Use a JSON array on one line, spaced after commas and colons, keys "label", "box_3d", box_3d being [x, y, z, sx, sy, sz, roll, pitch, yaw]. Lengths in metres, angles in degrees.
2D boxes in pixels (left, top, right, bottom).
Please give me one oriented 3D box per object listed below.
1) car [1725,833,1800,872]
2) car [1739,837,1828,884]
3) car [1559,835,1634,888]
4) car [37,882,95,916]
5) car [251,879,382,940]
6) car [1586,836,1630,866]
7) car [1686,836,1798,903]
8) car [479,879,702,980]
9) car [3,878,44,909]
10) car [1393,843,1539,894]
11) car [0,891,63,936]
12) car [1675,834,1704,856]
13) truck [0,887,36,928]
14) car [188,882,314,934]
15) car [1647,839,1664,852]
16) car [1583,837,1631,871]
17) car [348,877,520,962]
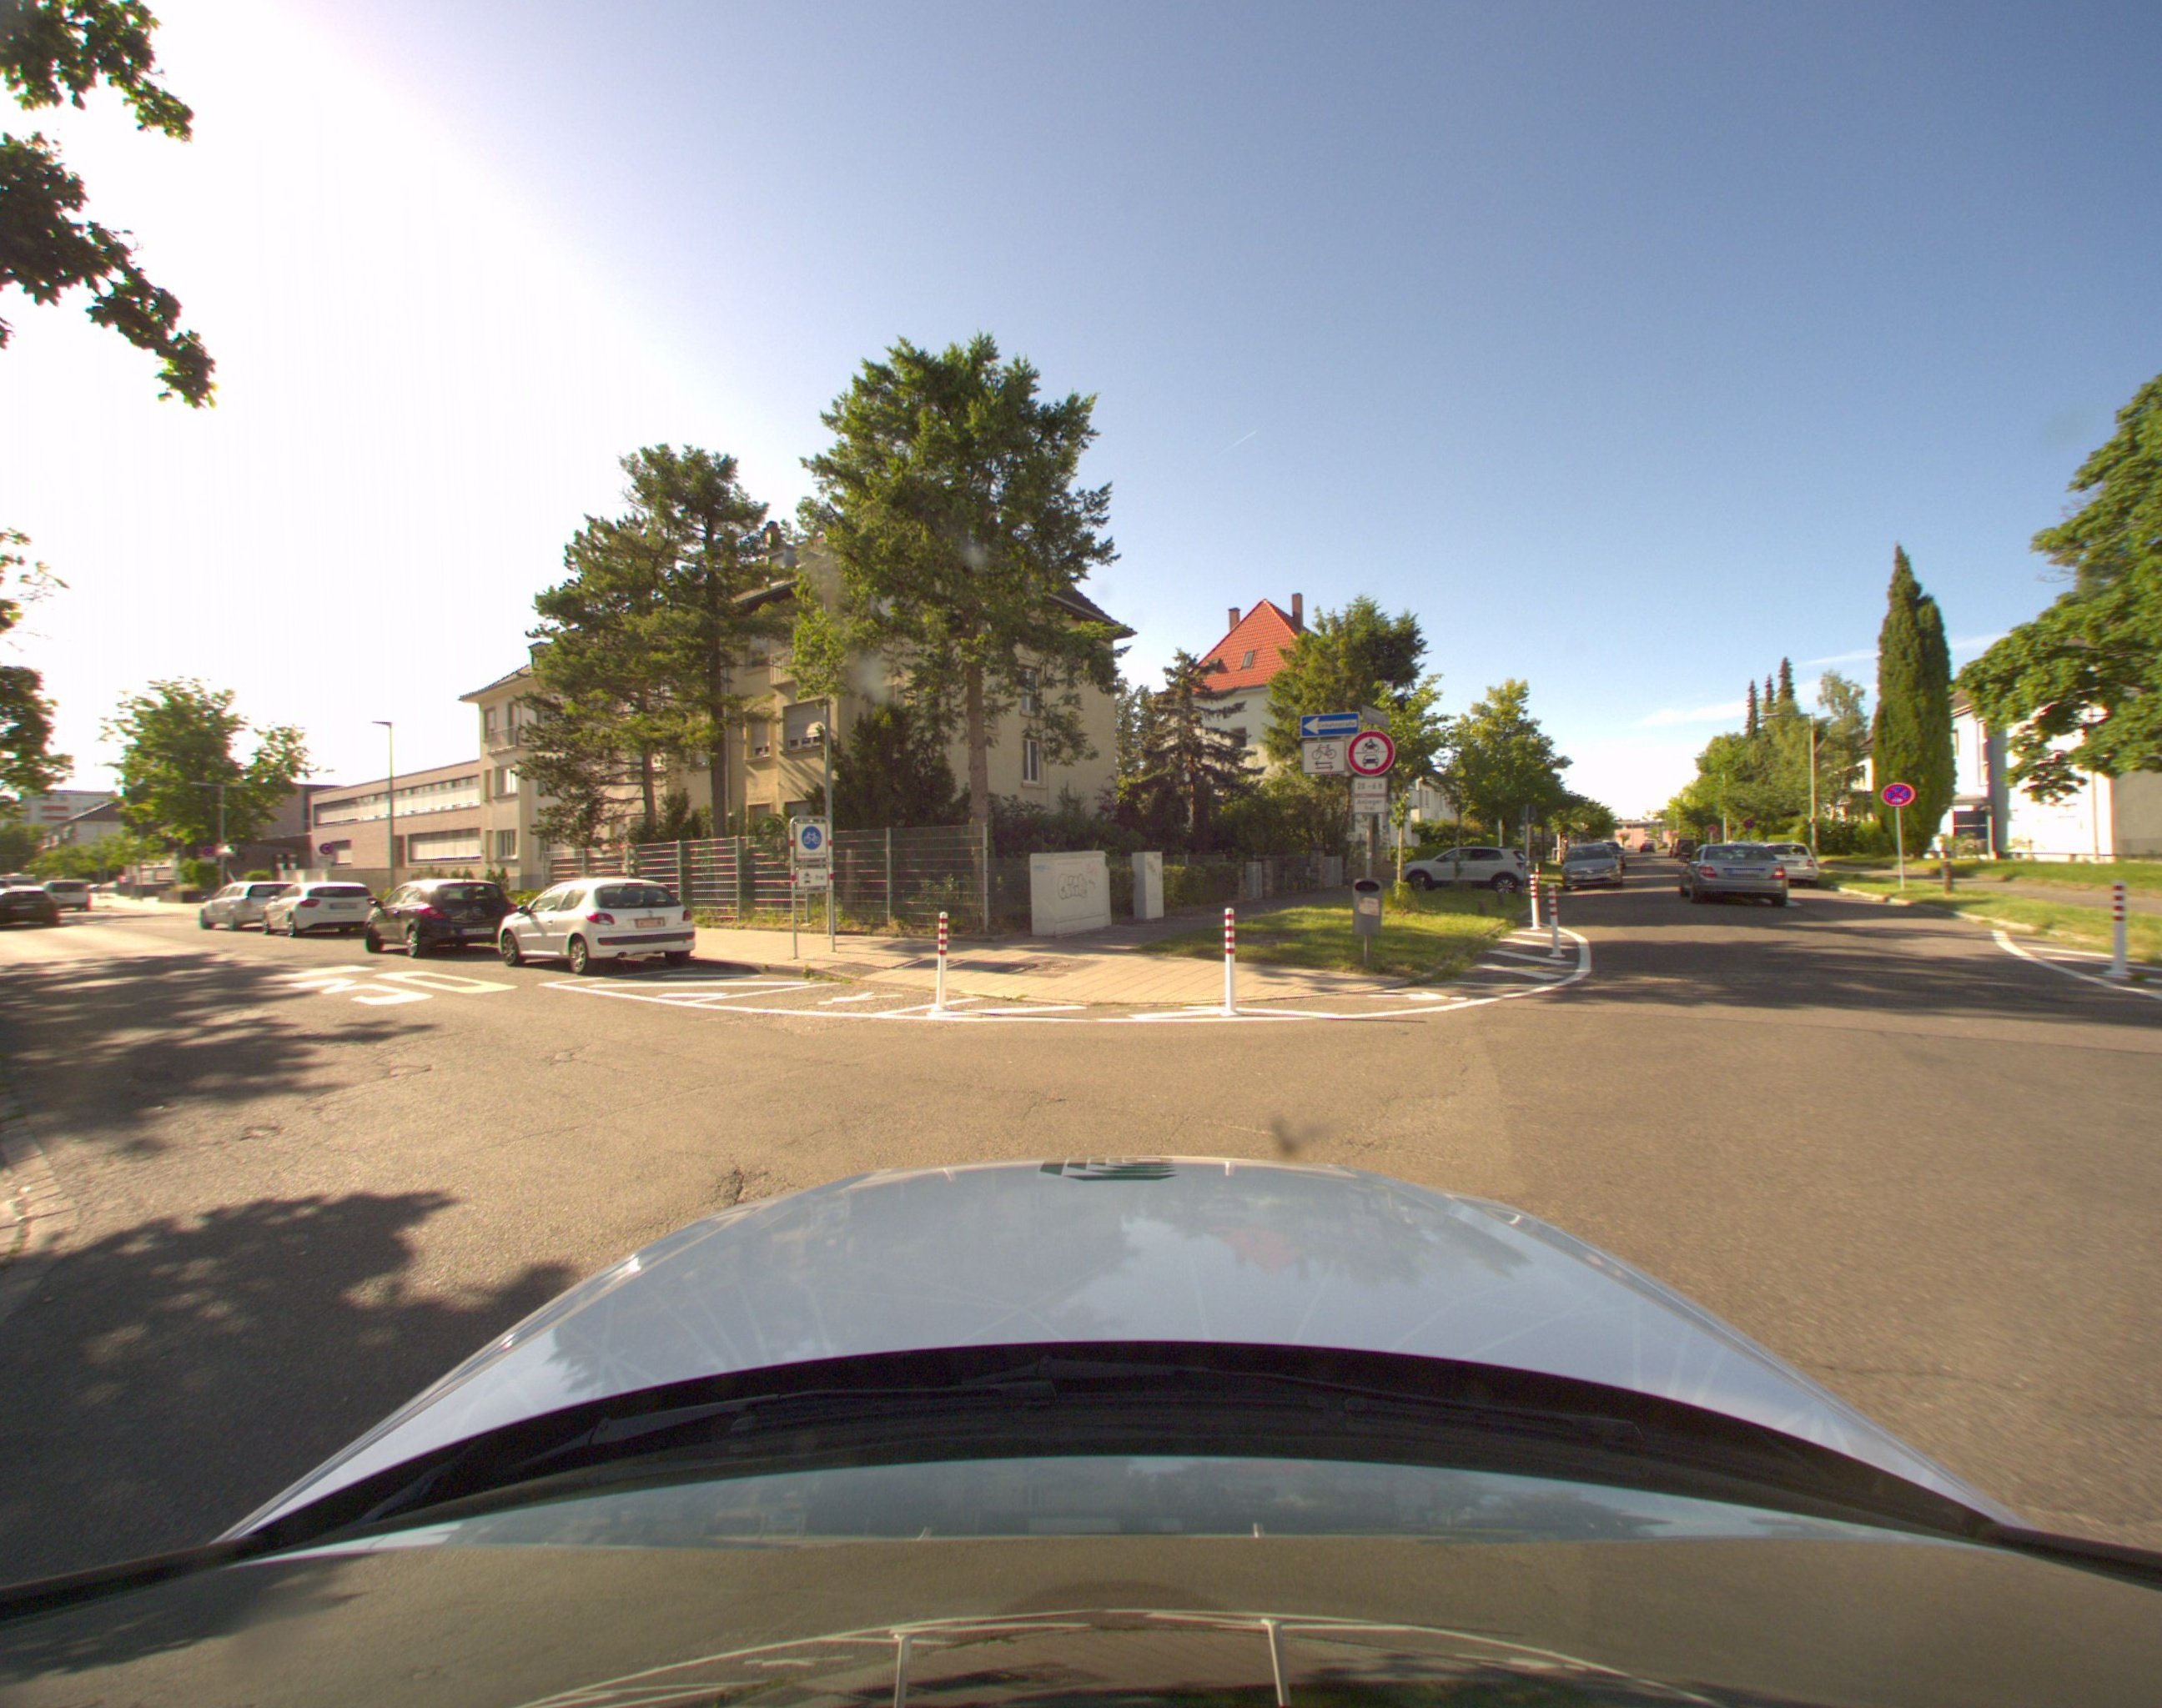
[{"label": "car", "box_3d": [30.387, -0.075, 36.421, 1.974, 1.609, 4.026, -2, 0, 32]}, {"label": "car", "box_3d": [23.962, 0.181, 27.920, 1.716, 1.480, 3.749, -2, 0, 32]}, {"label": "car", "box_3d": [18.283, 0.232, 28.949, 1.974, 1.610, 4.026, -6, -2, 32]}, {"label": "car", "box_3d": [-60.268, 2.640, 48.354, 3.948, 1.830, 1.835, -2, -1, 34]}, {"label": "car", "box_3d": [-21.124, 1.480, 22.471, 3.948, 1.495, 1.813, -2, -1, 34]}, {"label": "car", "box_3d": [31.462, -0.197, 48.710, 1.974, 1.610, 4.026, -6, -2, 32]}, {"label": "car", "box_3d": [15.881, 0.320, 19.754, 1.818, 1.441, 4.026, -1, 0, 35]}, {"label": "car", "box_3d": [-8.092, 1.146, 13.366, 3.727, 1.398, 1.718, -2, -1, 34]}, {"label": "car", "box_3d": [-89.655, 3.310, 69.032, 3.948, 2.518, 1.835, -2, -1, 34]}, {"label": "car", "box_3d": [12.591, 0.444, 26.678, 4.152, 1.564, 1.854, -1, 0, 31]}, {"label": "car", "box_3d": [-40.391, 2.228, 30.657, 4.694, 1.524, 2.013, -2, 0, 32]}, {"label": "car", "box_3d": [55.578, -0.820, 74.395, 1.837, 1.841, 4.026, -2, 0, 33]}, {"label": "truck", "box_3d": [-57.642, 2.854, 43.424, 4.811, 2.036, 2.013, -2, 0, 34]}, {"label": "car", "box_3d": [-26.237, 1.663, 25.727, 3.949, 1.495, 1.812, -2, -1, 30]}, {"label": "car", "box_3d": [79.052, -1.194, 112.066, 1.581, 1.609, 3.667, -2, 0, 32]}, {"label": "car", "box_3d": [28.266, -0.011, 43.834, 1.974, 1.610, 4.026, -6, -2, 32]}, {"label": "car", "box_3d": [-13.112, 1.261, 16.451, 3.776, 1.495, 1.687, -2, -1, 34]}]
